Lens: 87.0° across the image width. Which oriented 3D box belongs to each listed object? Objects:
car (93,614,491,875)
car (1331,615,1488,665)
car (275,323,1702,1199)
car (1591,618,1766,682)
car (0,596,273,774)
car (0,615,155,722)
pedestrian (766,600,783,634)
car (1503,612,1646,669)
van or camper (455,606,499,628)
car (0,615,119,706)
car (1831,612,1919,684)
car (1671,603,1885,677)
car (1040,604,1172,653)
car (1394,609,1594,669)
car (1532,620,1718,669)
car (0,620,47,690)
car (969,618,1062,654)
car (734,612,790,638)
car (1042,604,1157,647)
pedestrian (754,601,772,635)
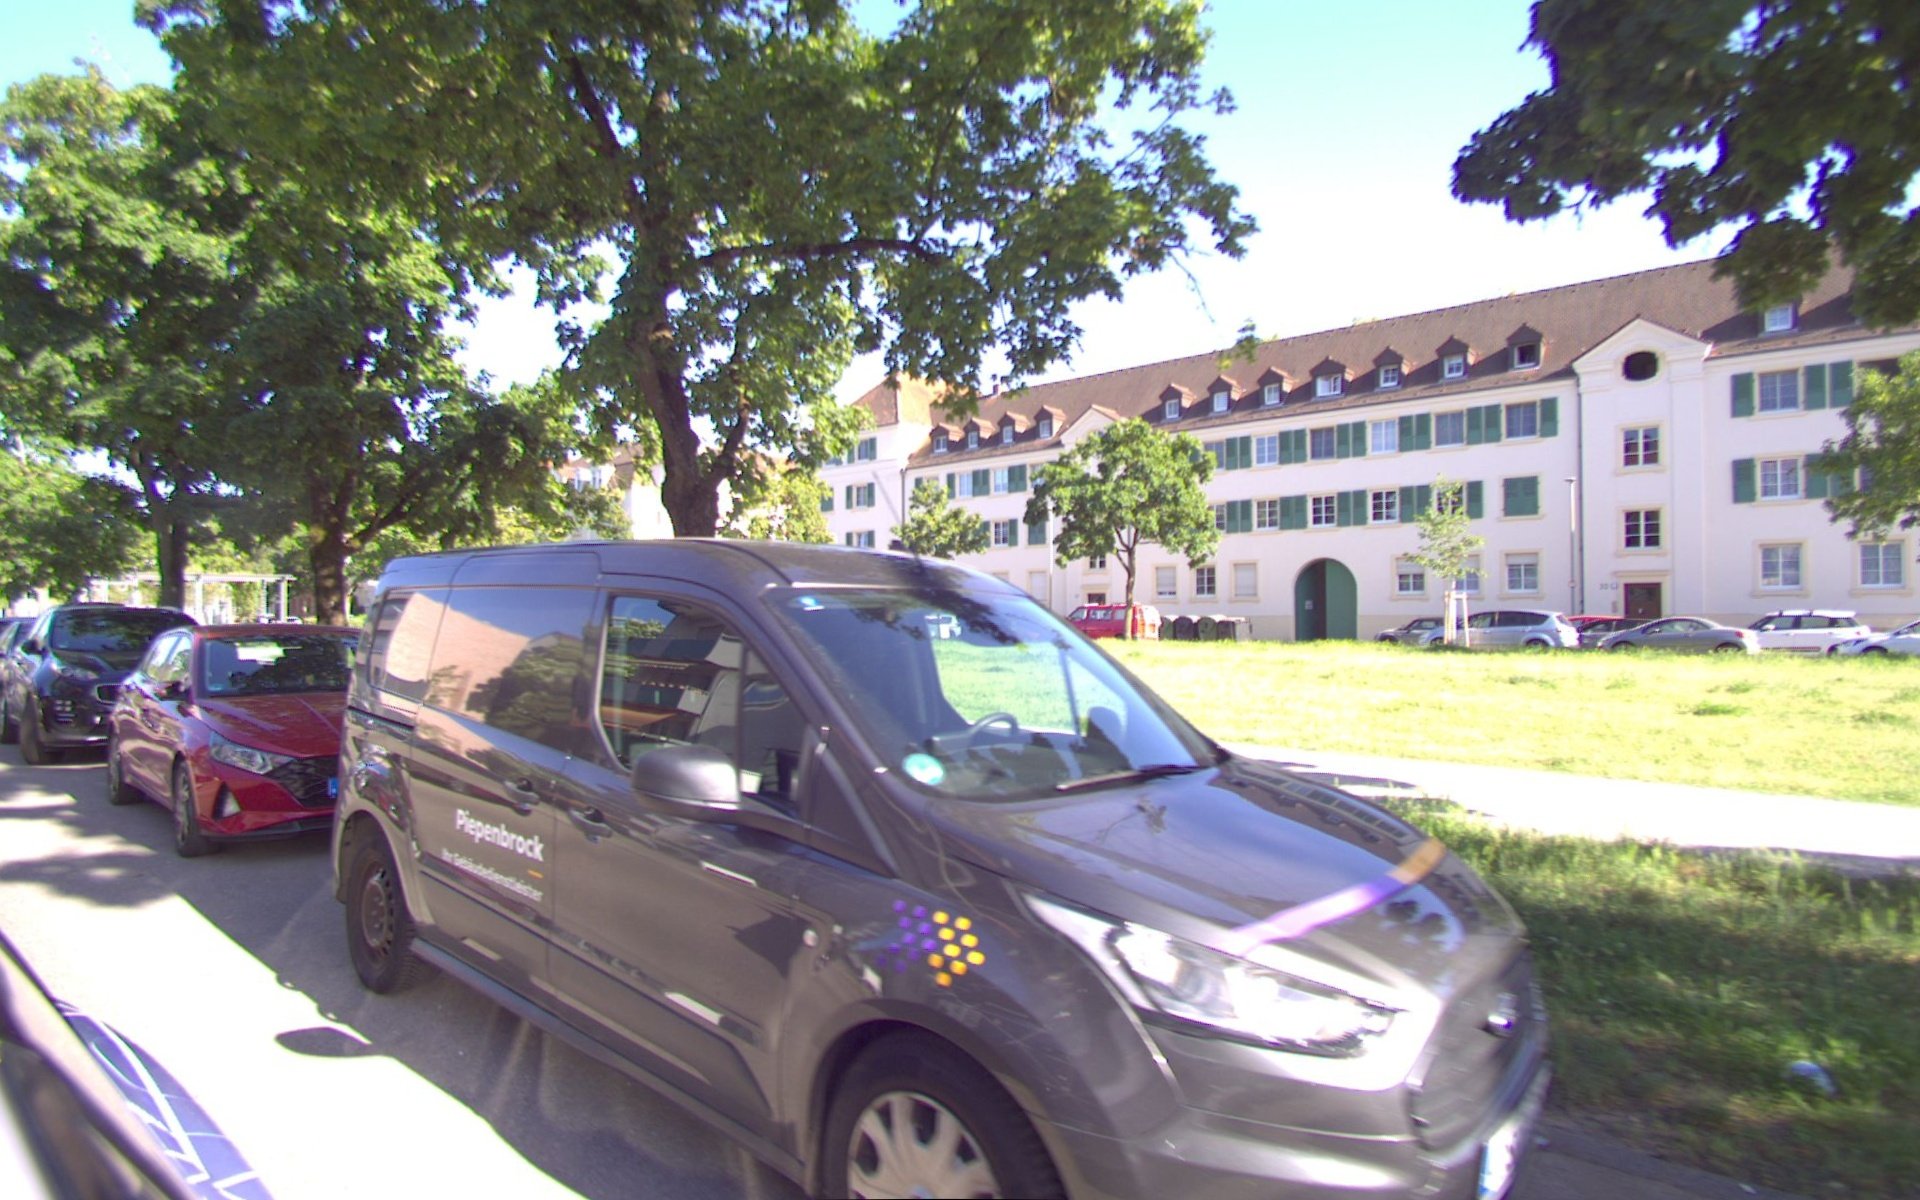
[{"bbox_3d":[-5.144,0.838,7.557,4.086,1.439,1.521,-1,-1,42],"label":"car"},{"bbox_3d":[17.961,1.553,40.609,5.257,1.834,2.424,-1,-1,43],"label":"car"},{"bbox_3d":[-0.570,0.587,3.549,4.989,1.798,1.845,0,-1,41],"label":"car"},{"bbox_3d":[21.424,1.430,30.238,4.008,1.763,2.292,-1,-1,43],"label":"car"},{"bbox_3d":[-9.819,0.850,11.731,4.756,1.638,2.004,-1,-2,42],"label":"car"},{"bbox_3d":[-14.020,0.968,15.637,3.803,1.429,1.860,0,-1,42],"label":"car"},{"bbox_3d":[-9.273,0.860,50.631,0.537,1.698,0.674,1,-1,-44],"label":"pedestrian"},{"bbox_3d":[22.291,1.417,36.782,4.163,1.919,2.241,-1,-1,40],"label":"car"},{"bbox_3d":[-45.676,1.566,95.652,4.372,2.029,2.244,0,-1,42],"label":"van or camper"},{"bbox_3d":[-17.769,1.073,19.041,5.152,1.528,1.974,-1,-2,39],"label":"car"},{"bbox_3d":[25.708,1.233,26.511,4.253,1.834,2.214,-1,-1,39],"label":"car"},{"bbox_3d":[26.646,1.245,33.190,5.252,2.233,2.505,-1,-1,39],"label":"car"},{"bbox_3d":[6.223,1.194,43.559,5.255,1.999,2.197,-1,-1,41],"label":"car"},{"bbox_3d":[17.618,1.237,33.574,5.453,1.834,2.424,-1,-1,43],"label":"car"},{"bbox_3d":[21.898,1.415,33.451,4.955,1.496,1.973,-1,-2,40],"label":"car"},{"bbox_3d":[-22.123,1.172,22.614,4.963,1.463,1.817,-1,-1,39],"label":"car"},{"bbox_3d":[2.871,1.867,53.397,4.639,1.777,1.974,-1,-1,39],"label":"car"},{"bbox_3d":[-15.407,1.931,78.812,2.043,1.970,3.762,-1,-1,43],"label":"car"},{"bbox_3d":[6.858,1.242,50.020,5.252,1.999,2.199,-1,-1,39],"label":"car"},{"bbox_3d":[-9.775,0.898,50.207,0.750,1.698,0.537,-1,-1,43],"label":"pedestrian"}]
